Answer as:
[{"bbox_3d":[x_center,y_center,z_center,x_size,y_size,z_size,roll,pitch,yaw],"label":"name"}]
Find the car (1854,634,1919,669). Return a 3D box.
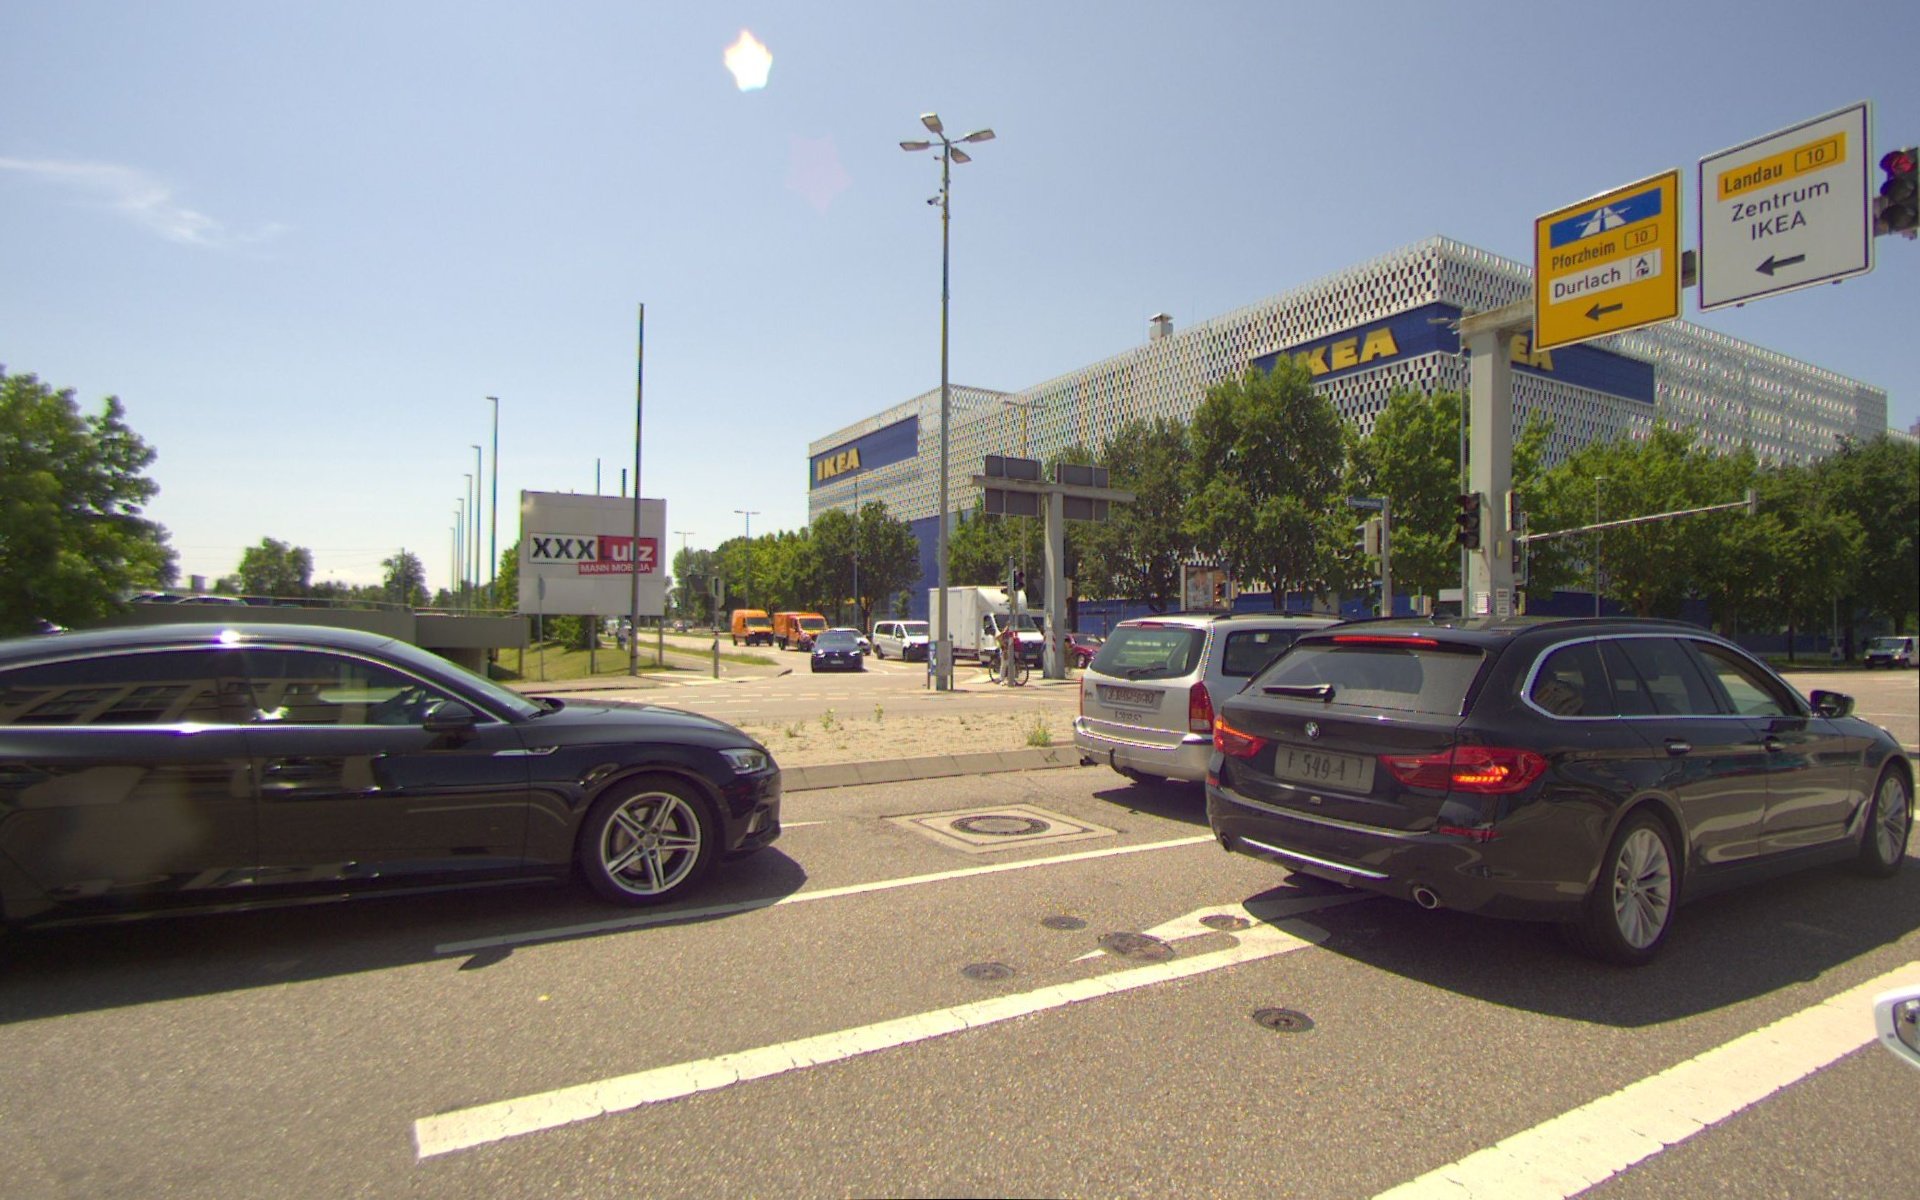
[{"bbox_3d":[57.064,3.151,61.611,4.710,2.034,1.984,2,-3,-31],"label":"car"}]

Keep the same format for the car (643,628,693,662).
[{"bbox_3d":[-18.201,2.773,62.588,1.816,2.040,3.961,1,-2,-35],"label":"car"}]

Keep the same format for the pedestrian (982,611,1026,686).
[{"bbox_3d":[1.237,1.348,28.063,0.857,2.040,0.898,1,-2,-36],"label":"pedestrian"}]

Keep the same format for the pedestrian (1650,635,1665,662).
[{"bbox_3d":[37.941,2.638,54.652,0.477,1.502,0.460,1,-2,-27],"label":"pedestrian"}]

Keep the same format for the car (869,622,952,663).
[{"bbox_3d":[-2.442,2.010,47.958,1.974,1.835,5.436,1,-2,-26],"label":"car"}]

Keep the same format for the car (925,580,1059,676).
[{"bbox_3d":[1.121,1.099,40.586,2.157,3.532,6.872,-1,-1,-29],"label":"car"}]

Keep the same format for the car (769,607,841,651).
[{"bbox_3d":[-9.777,1.856,62.879,2.543,2.568,6.585,1,-2,-27],"label":"car"}]

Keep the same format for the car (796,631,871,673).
[{"bbox_3d":[-4.842,1.942,38.026,1.904,1.528,3.981,1,-2,-21],"label":"car"}]

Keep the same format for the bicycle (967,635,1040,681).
[{"bbox_3d":[1.199,1.608,28.098,0.987,1.229,2.078,1,-2,-36],"label":"bicycle"}]

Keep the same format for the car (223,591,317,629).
[{"bbox_3d":[-36.109,0.564,52.711,3.958,1.933,1.982,1,-2,-33],"label":"car"}]

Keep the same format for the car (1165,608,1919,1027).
[{"bbox_3d":[3.442,0.818,5.568,4.572,1.485,1.790,1,-1,-32],"label":"car"}]

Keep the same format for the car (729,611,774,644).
[{"bbox_3d":[-15.522,2.081,74.577,1.973,2.318,5.846,1,-2,-25],"label":"car"}]

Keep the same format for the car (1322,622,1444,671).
[{"bbox_3d":[15.279,1.652,36.525,1.689,1.673,4.190,1,-2,-20],"label":"car"}]

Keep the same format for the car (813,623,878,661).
[{"bbox_3d":[-6.418,2.327,55.858,1.975,2.040,4.680,1,-2,-28],"label":"car"}]

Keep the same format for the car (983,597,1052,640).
[{"bbox_3d":[3.514,1.147,62.946,1.973,2.600,5.475,1,-1,-25],"label":"car"}]

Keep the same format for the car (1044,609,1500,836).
[{"bbox_3d":[2.790,0.865,8.628,3.963,1.514,1.785,1,-1,-37],"label":"car"}]

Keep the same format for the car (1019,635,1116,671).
[{"bbox_3d":[4.251,2.088,40.416,1.755,1.360,4.265,0,-2,-29],"label":"car"}]

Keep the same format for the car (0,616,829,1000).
[{"bbox_3d":[-3.052,0.785,4.965,4.478,1.409,1.740,1,-1,-29],"label":"car"}]
